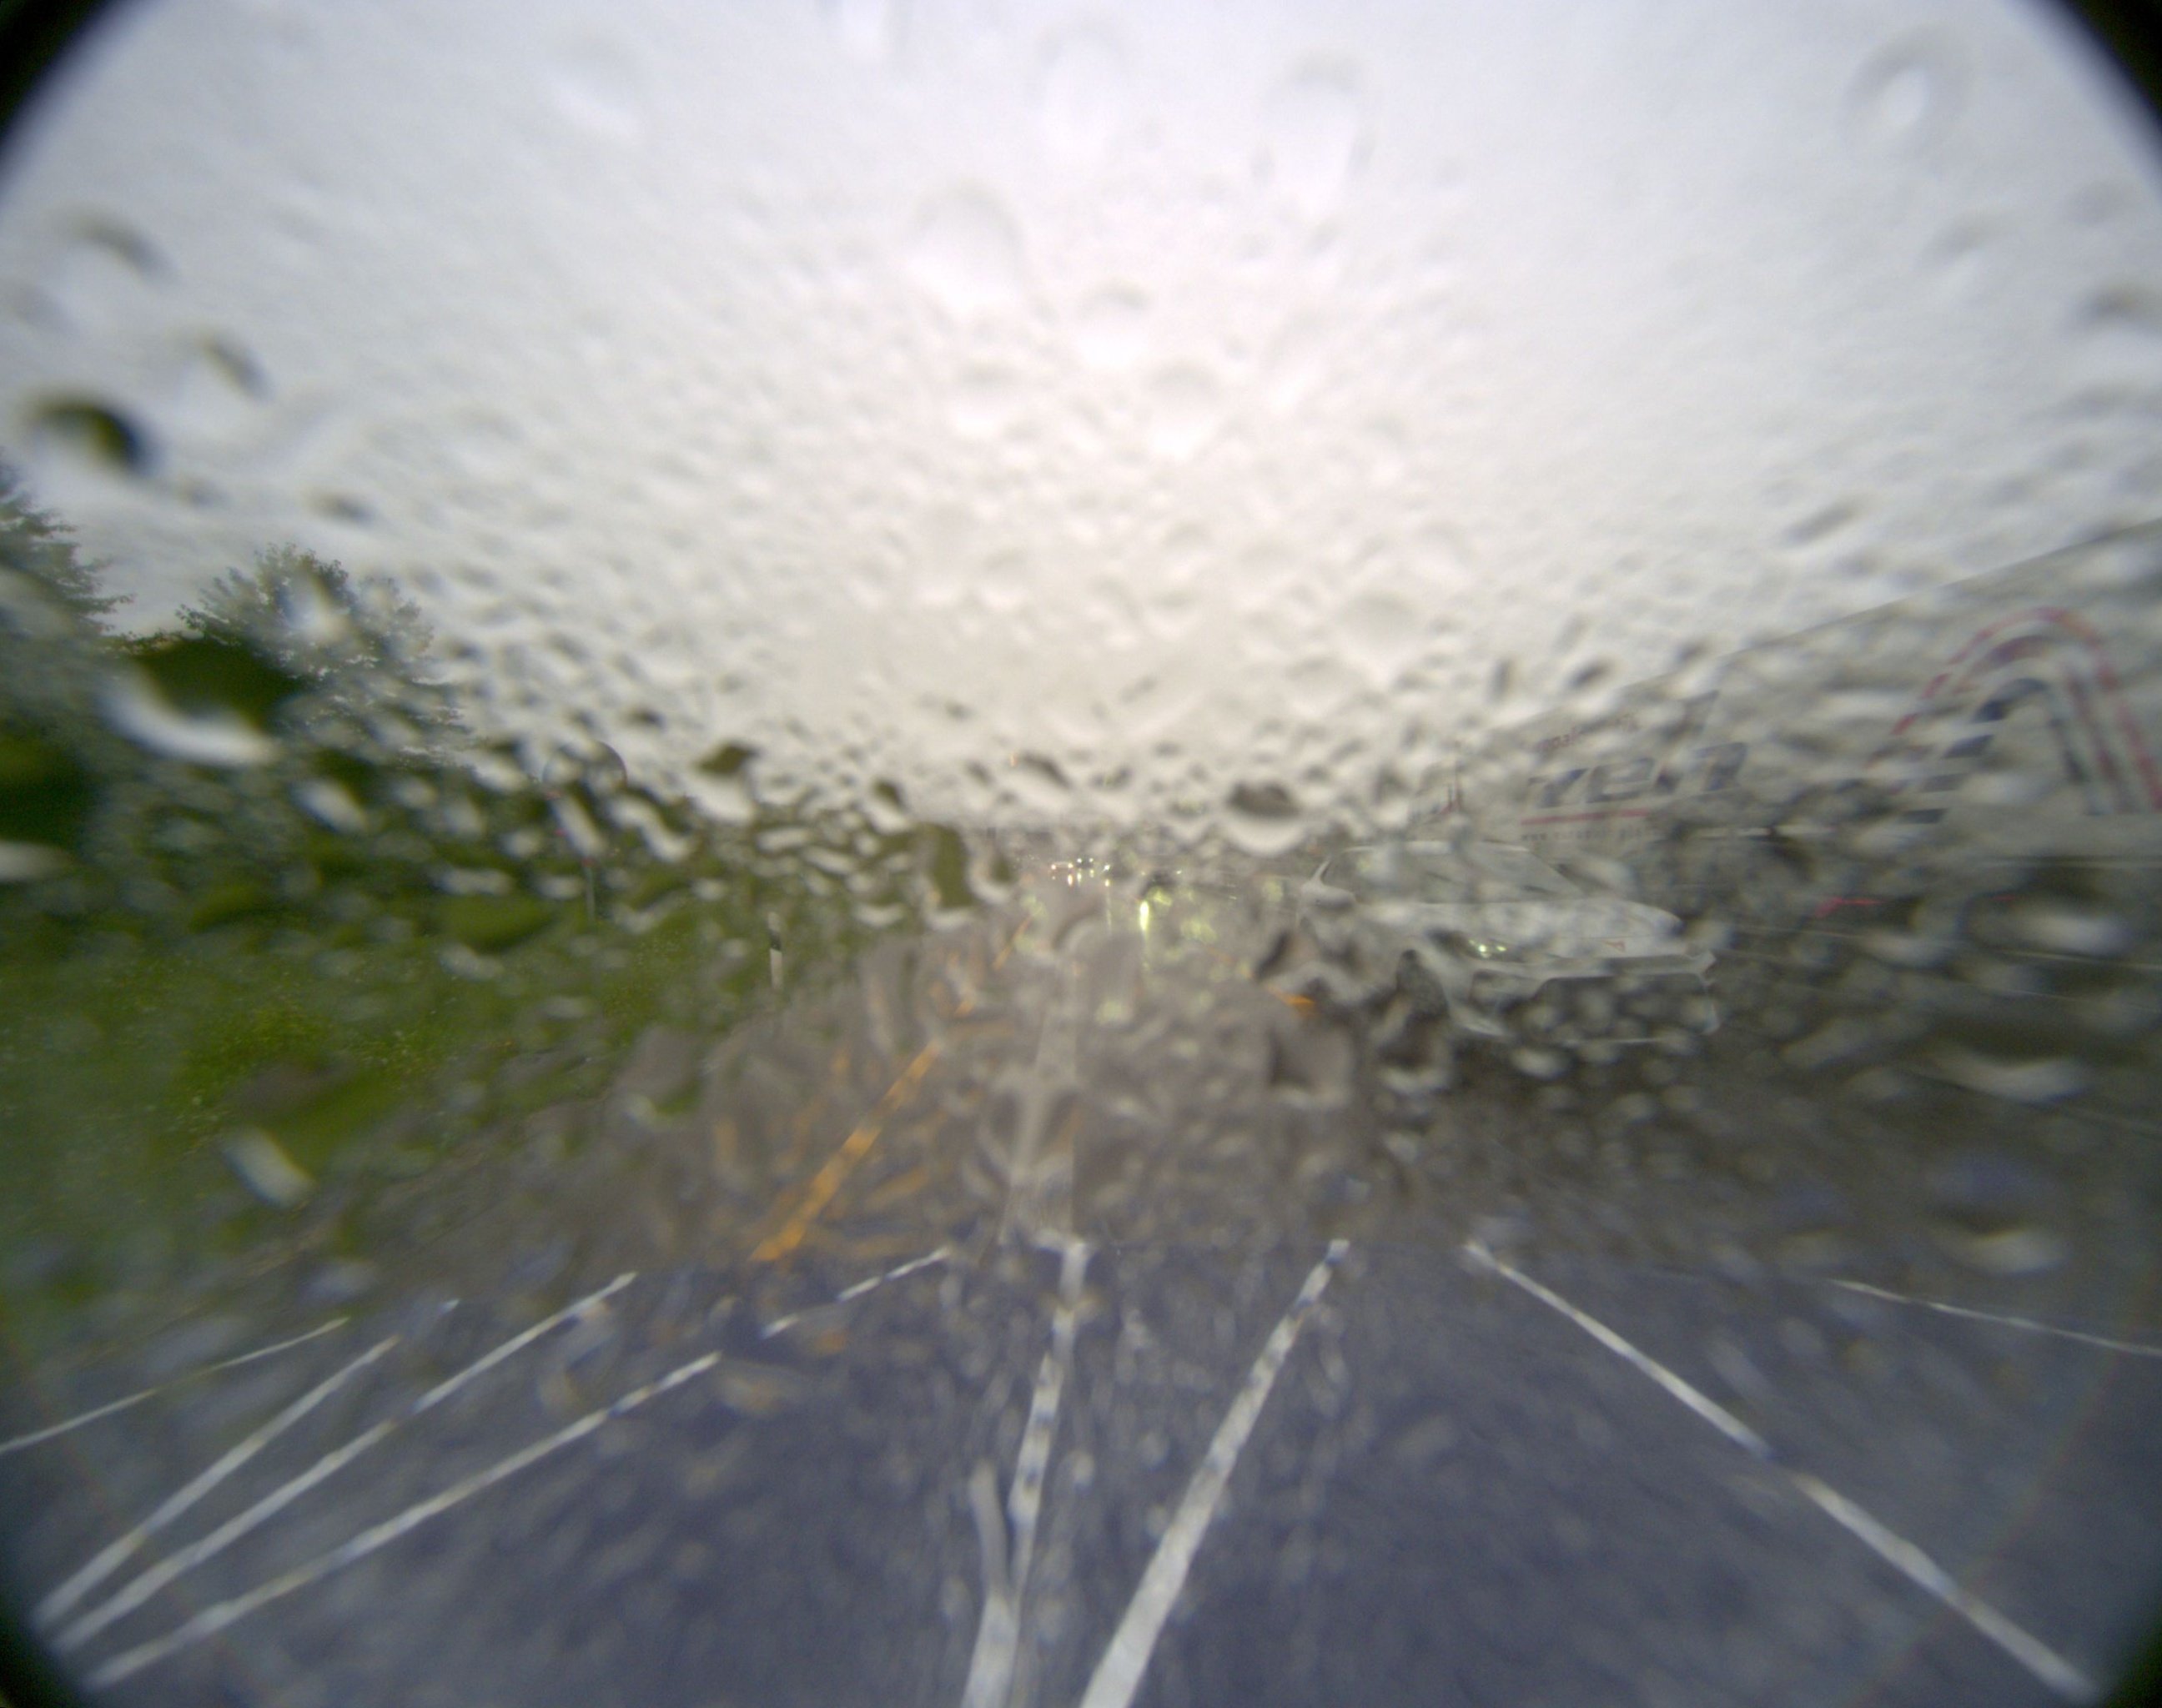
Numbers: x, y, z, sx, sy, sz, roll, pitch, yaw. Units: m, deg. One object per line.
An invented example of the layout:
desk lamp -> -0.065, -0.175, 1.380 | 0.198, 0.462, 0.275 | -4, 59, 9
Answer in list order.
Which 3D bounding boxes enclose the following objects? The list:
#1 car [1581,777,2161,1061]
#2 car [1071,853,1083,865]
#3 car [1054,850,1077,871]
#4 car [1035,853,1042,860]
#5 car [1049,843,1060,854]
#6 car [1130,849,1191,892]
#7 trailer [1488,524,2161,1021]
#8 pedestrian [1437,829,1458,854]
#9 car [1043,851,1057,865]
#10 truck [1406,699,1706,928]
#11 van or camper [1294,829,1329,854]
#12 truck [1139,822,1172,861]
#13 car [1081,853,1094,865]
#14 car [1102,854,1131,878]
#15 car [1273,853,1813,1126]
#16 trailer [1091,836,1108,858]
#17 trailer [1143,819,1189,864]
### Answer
car -> 7.233, 0.437, 7.268 | 1.998, 1.873, 4.433 | -1, 0, 1
car -> -0.664, 0.809, 124.628 | 1.674, 1.804, 3.999 | -1, 1, -2
car -> -1.442, 0.579, 69.063 | 1.881, 1.772, 3.998 | -1, 1, -3
car -> -11.199, 0.552, 199.637 | 1.674, 1.804, 3.999 | -1, 1, -2
car -> -9.268, -1.847, 264.311 | 3.306, 3.718, 9.397 | -3, 1, -3
car -> 3.295, 0.645, 32.563 | 2.069, 1.618, 5.195 | -2, 0, 0
trailer -> 9.988, -0.700, 9.871 | 2.500, 4.026, 12.585 | -2, 0, 0
pedestrian -> 31.354, -1.057, 64.979 | 1.108, 2.002, 1.126 | -3, 1, -4
car -> -4.101, 0.547, 100.909 | 1.674, 1.804, 3.998 | -1, 1, -5
truck -> 9.919, -0.726, 16.874 | 2.490, 4.007, 6.447 | -2, 0, 0
van or camper -> 42.545, -2.307, 140.372 | 3.376, 4.299, 8.503 | -3, 1, -3
truck -> 8.082, -1.310, 83.193 | 2.631, 4.058, 6.667 | -2, 0, -2
car -> 0.815, 0.600, 98.091 | 1.590, 1.528, 3.831 | -1, 0, 0
car -> 2.503, 0.829, 54.034 | 1.792, 1.480, 3.999 | -3, 1, 0
car -> 3.376, 0.804, 7.010 | 1.932, 1.542, 5.006 | -2, 0, 0
trailer -> 3.676, -1.407, 153.880 | 2.620, 3.984, 11.923 | -3, 1, -2
trailer -> 8.354, -1.227, 76.158 | 2.607, 4.054, 12.428 | -2, 1, -2
